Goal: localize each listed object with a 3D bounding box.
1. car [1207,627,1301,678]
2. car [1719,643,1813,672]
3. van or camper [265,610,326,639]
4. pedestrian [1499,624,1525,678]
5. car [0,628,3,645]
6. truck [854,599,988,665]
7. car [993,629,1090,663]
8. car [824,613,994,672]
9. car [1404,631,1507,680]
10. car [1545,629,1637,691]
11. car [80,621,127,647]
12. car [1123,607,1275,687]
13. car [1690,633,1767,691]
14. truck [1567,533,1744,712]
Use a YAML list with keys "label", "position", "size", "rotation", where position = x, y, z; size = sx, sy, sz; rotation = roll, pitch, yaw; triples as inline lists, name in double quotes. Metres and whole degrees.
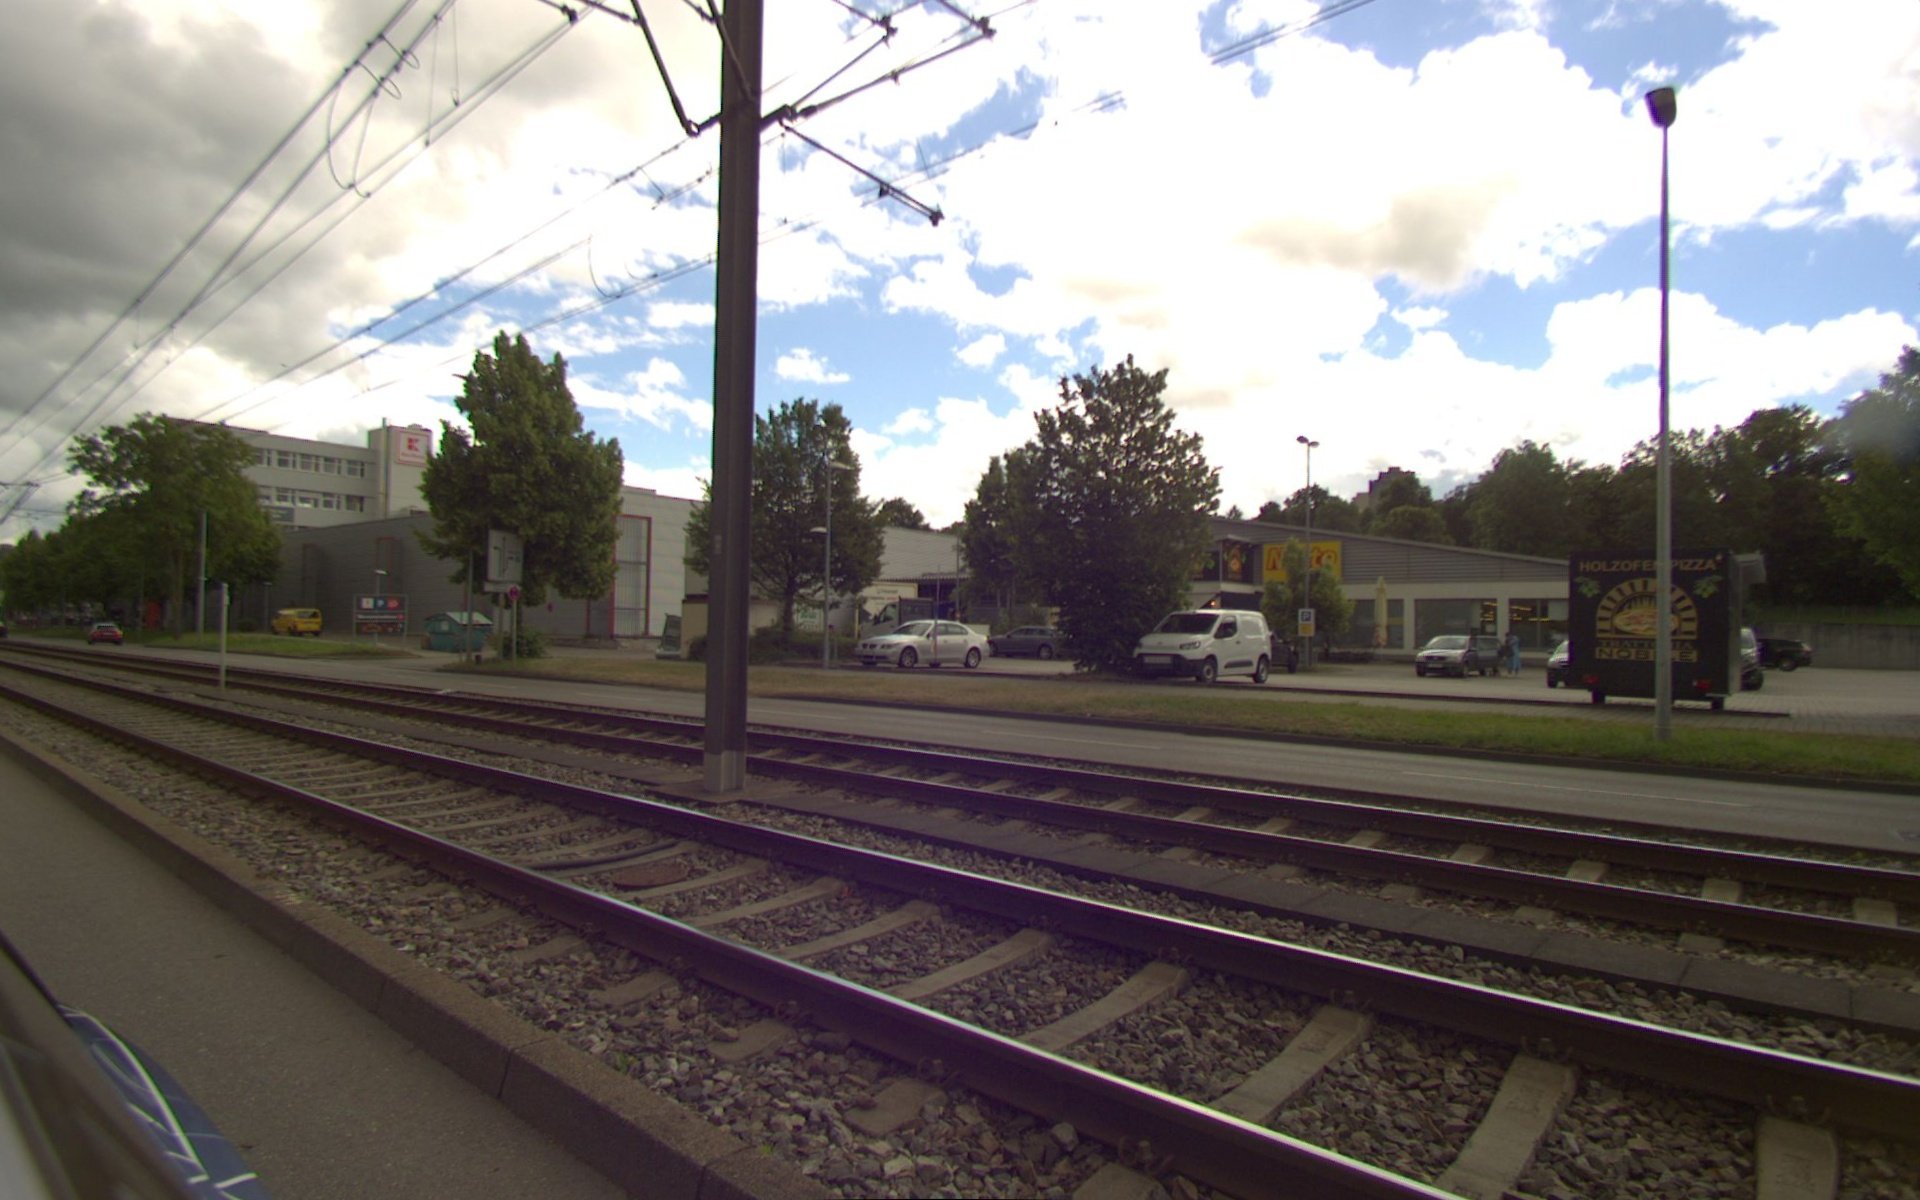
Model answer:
- label: "car"
  position: [10.325, 1.814, 35.429]
  size: [1.873, 1.666, 3.949]
  rotation: [-1, -3, 38]
- label: "car"
  position: [40.058, 2.851, 50.305]
  size: [3.588, 1.344, 1.455]
  rotation: [-1, -3, 41]
- label: "van or camper"
  position: [-48.083, 1.815, 73.203]
  size: [5.235, 2.029, 2.083]
  rotation: [-1, -2, 38]
- label: "pedestrian"
  position: [19.502, 1.803, 35.754]
  size: [0.663, 1.869, 0.539]
  rotation: [-1, -3, 41]
- label: "car"
  position: [-81.201, 2.963, 84.222]
  size: [4.440, 1.412, 1.741]
  rotation: [-1, -5, 40]
- label: "truck"
  position: [-1.575, 1.234, 39.335]
  size: [5.261, 2.401, 1.973]
  rotation: [-1, -3, 41]
- label: "car"
  position: [3.536, 1.991, 44.280]
  size: [3.991, 1.411, 1.596]
  rotation: [-1, -2, 36]
- label: "car"
  position: [-1.487, 1.295, 30.877]
  size: [2.651, 1.641, 4.730]
  rotation: [-2, -3, 41]
- label: "car"
  position: [17.761, 1.956, 36.208]
  size: [2.465, 1.652, 3.881]
  rotation: [-1, -3, 40]
- label: "car"
  position: [18.106, 1.680, 28.964]
  size: [1.687, 1.652, 3.881]
  rotation: [-1, -3, 40]
- label: "car"
  position: [-59.071, 2.344, 69.770]
  size: [3.996, 1.785, 1.774]
  rotation: [-1, -2, 39]
- label: "car"
  position: [5.842, 1.117, 24.427]
  size: [1.993, 1.740, 4.179]
  rotation: [-1, -3, 39]
- label: "car"
  position: [23.785, 1.884, 31.281]
  size: [1.687, 1.652, 3.881]
  rotation: [-1, -3, 40]
- label: "truck"
  position: [12.680, 0.448, 18.357]
  size: [2.373, 2.843, 3.948]
  rotation: [-1, -3, 38]
